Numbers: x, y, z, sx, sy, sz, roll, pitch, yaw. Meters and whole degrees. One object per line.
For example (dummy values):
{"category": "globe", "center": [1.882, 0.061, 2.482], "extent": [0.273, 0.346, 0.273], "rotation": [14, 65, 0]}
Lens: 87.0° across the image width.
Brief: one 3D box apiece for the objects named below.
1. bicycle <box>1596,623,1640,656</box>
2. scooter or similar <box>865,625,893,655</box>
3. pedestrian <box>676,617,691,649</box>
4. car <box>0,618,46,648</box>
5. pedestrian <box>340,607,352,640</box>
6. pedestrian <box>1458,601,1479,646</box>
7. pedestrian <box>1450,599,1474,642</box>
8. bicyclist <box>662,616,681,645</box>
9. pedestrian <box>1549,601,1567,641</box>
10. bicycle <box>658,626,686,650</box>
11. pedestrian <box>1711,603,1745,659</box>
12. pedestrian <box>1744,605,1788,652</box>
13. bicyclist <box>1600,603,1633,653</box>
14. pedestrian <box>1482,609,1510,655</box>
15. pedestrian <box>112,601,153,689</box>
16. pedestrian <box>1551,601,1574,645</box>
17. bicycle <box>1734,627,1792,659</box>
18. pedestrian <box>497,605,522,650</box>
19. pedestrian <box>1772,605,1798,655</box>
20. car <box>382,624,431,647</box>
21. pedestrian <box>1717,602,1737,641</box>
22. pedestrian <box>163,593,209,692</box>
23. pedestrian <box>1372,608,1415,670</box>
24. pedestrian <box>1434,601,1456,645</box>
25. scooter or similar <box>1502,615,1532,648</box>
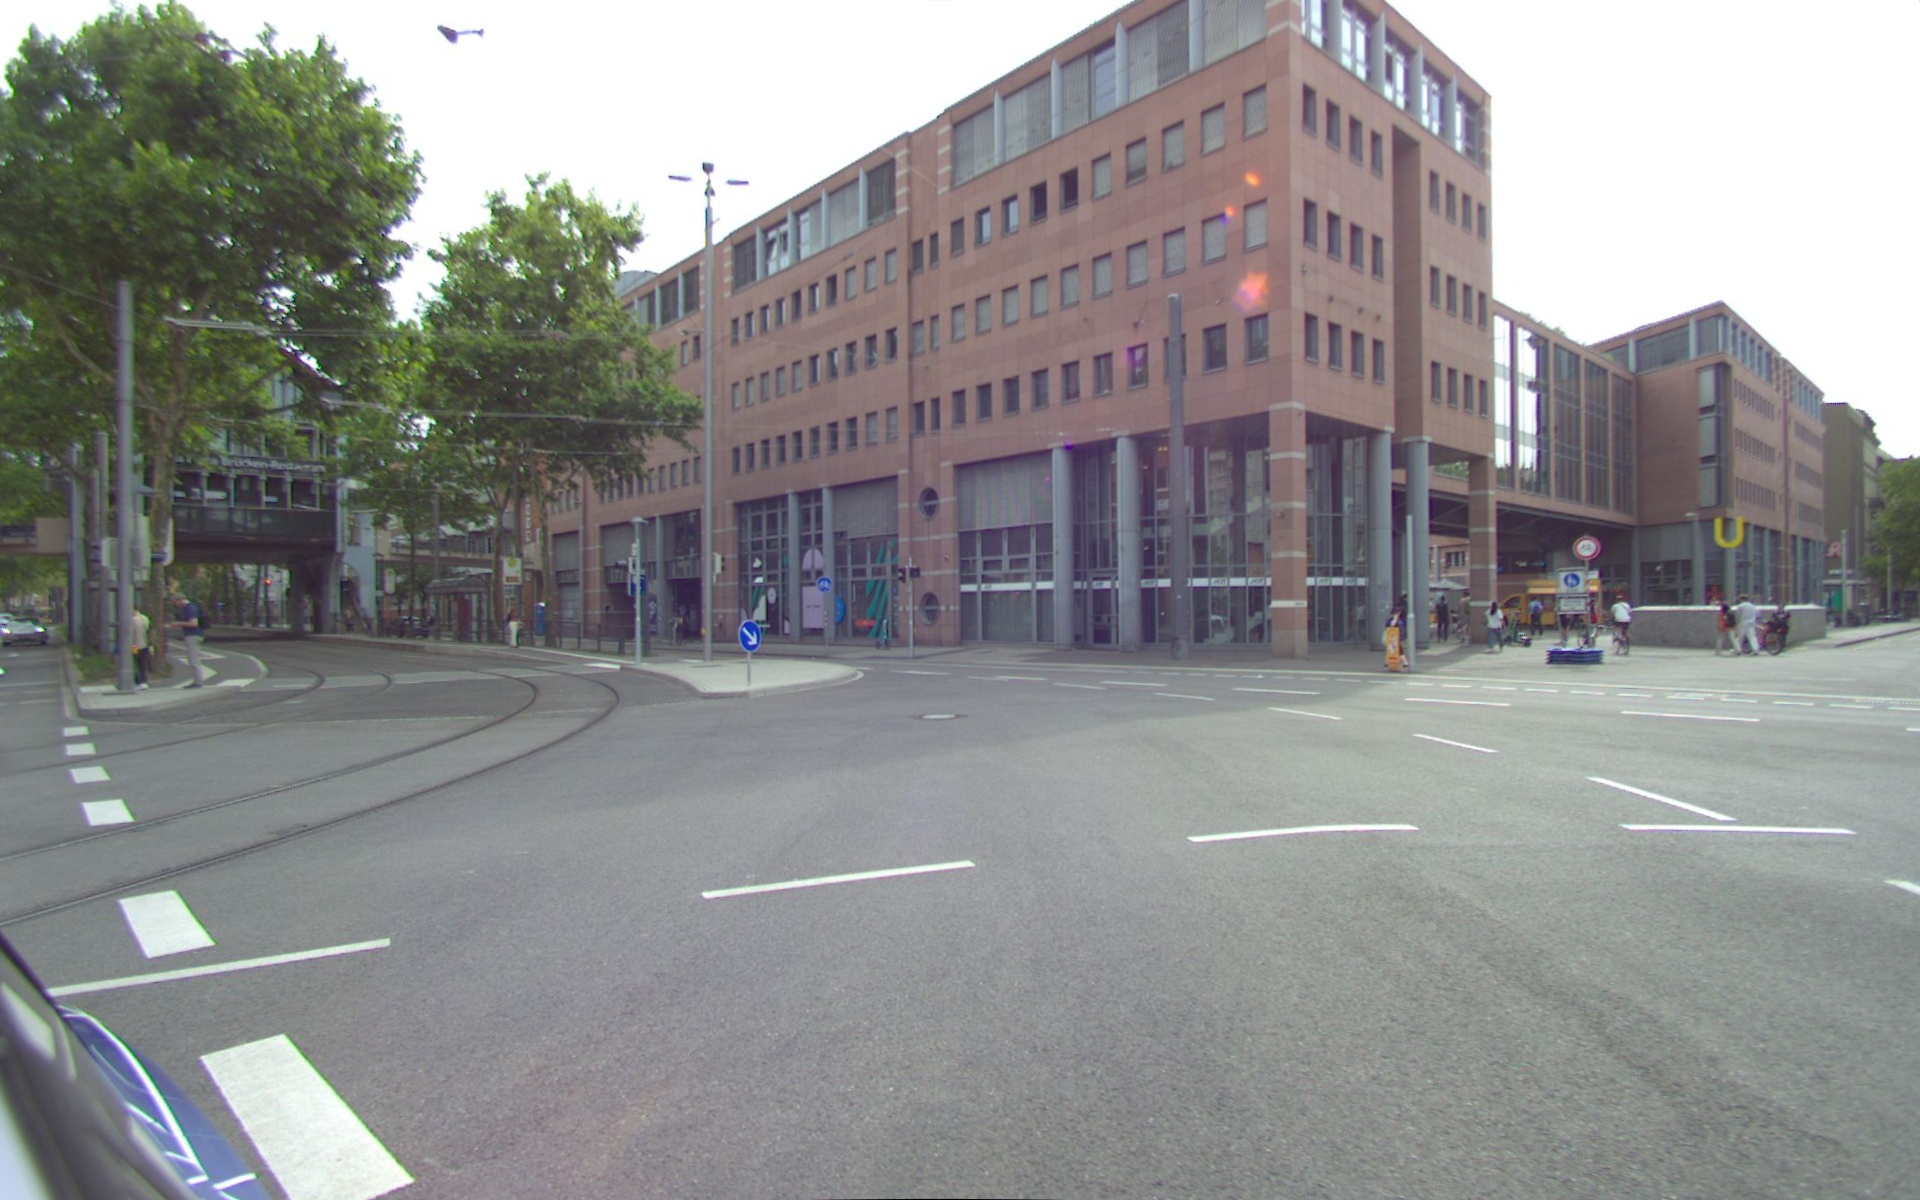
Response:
{"category": "bicycle", "center": [21.368, 1.271, 32.892], "extent": [0.468, 0.996, 1.784], "rotation": [-1, -1, 8]}
{"category": "scooter or similar", "center": [-3.145, 1.527, 39.116], "extent": [0.512, 1.142, 1.113], "rotation": [0, -1, -41]}
{"category": "pedestrian", "center": [-14.042, 1.664, 51.319], "extent": [0.521, 1.585, 0.602], "rotation": [0, -2, -42]}
{"category": "car", "center": [-53.800, 1.868, 58.057], "extent": [1.928, 1.613, 4.005], "rotation": [0, -1, -41]}
{"category": "pedestrian", "center": [-33.701, 1.281, 55.533], "extent": [0.481, 1.784, 0.475], "rotation": [-1, -1, 41]}
{"category": "pedestrian", "center": [19.291, 0.880, 38.379], "extent": [0.575, 1.676, 0.518], "rotation": [-1, -1, 15]}
{"category": "pedestrian", "center": [21.110, 0.860, 42.555], "extent": [0.675, 1.775, 0.499], "rotation": [-1, -1, 1]}
{"category": "bicyclist", "center": [-13.977, 1.487, 49.018], "extent": [0.738, 1.391, 0.544], "rotation": [-2, -1, 41]}
{"category": "pedestrian", "center": [25.673, 0.899, 43.443], "extent": [0.513, 1.676, 0.465], "rotation": [0, -2, -41]}
{"category": "bicycle", "center": [-13.948, 1.816, 48.991], "extent": [1.589, 1.126, 0.540], "rotation": [-1, -1, 42]}
{"category": "pedestrian", "center": [23.004, 0.928, 30.325], "extent": [0.626, 1.654, 0.466], "rotation": [-1, -1, 9]}
{"category": "pedestrian", "center": [24.002, 0.846, 30.158], "extent": [0.625, 1.386, 0.863], "rotation": [-1, -1, 6]}
{"category": "bicyclist", "center": [21.315, 0.897, 32.858], "extent": [0.540, 1.581, 0.881], "rotation": [-1, -1, 8]}
{"category": "pedestrian", "center": [17.499, 1.051, 33.037], "extent": [0.645, 1.484, 0.582], "rotation": [0, -2, -41]}
{"category": "pedestrian", "center": [-17.303, 0.934, 21.170], "extent": [0.526, 1.805, 0.579], "rotation": [0, -1, -22]}
{"category": "pedestrian", "center": [22.909, 0.875, 38.477], "extent": [0.513, 1.676, 0.582], "rotation": [0, -2, -41]}
{"category": "bicycle", "center": [24.034, 1.271, 30.320], "extent": [0.468, 0.895, 1.784], "rotation": [-1, -1, 8]}
{"category": "pedestrian", "center": [-16.015, 0.965, 35.989], "extent": [0.559, 1.549, 0.649], "rotation": [1, 1, 44]}
{"category": "pedestrian", "center": [26.408, 0.949, 32.392], "extent": [0.499, 1.589, 0.522], "rotation": [0, -2, -40]}
{"category": "car", "center": [-36.503, 2.309, 66.652], "extent": [1.841, 1.484, 4.300], "rotation": [0, -1, -43]}
{"category": "pedestrian", "center": [33.400, 0.943, 44.076], "extent": [0.513, 1.676, 0.582], "rotation": [0, -2, -41]}
{"category": "pedestrian", "center": [-15.279, 0.822, 19.977], "extent": [0.683, 1.889, 0.808], "rotation": [0, -2, -41]}
{"category": "pedestrian", "center": [10.646, 0.938, 24.858], "extent": [0.787, 1.484, 0.685], "rotation": [0, -2, -41]}
{"category": "pedestrian", "center": [18.658, 0.900, 38.920], "extent": [0.513, 1.676, 0.582], "rotation": [0, -2, -41]}
{"category": "scooter or similar", "center": [20.298, 1.145, 36.893], "extent": [0.377, 1.178, 1.293], "rotation": [-1, -1, 0]}
